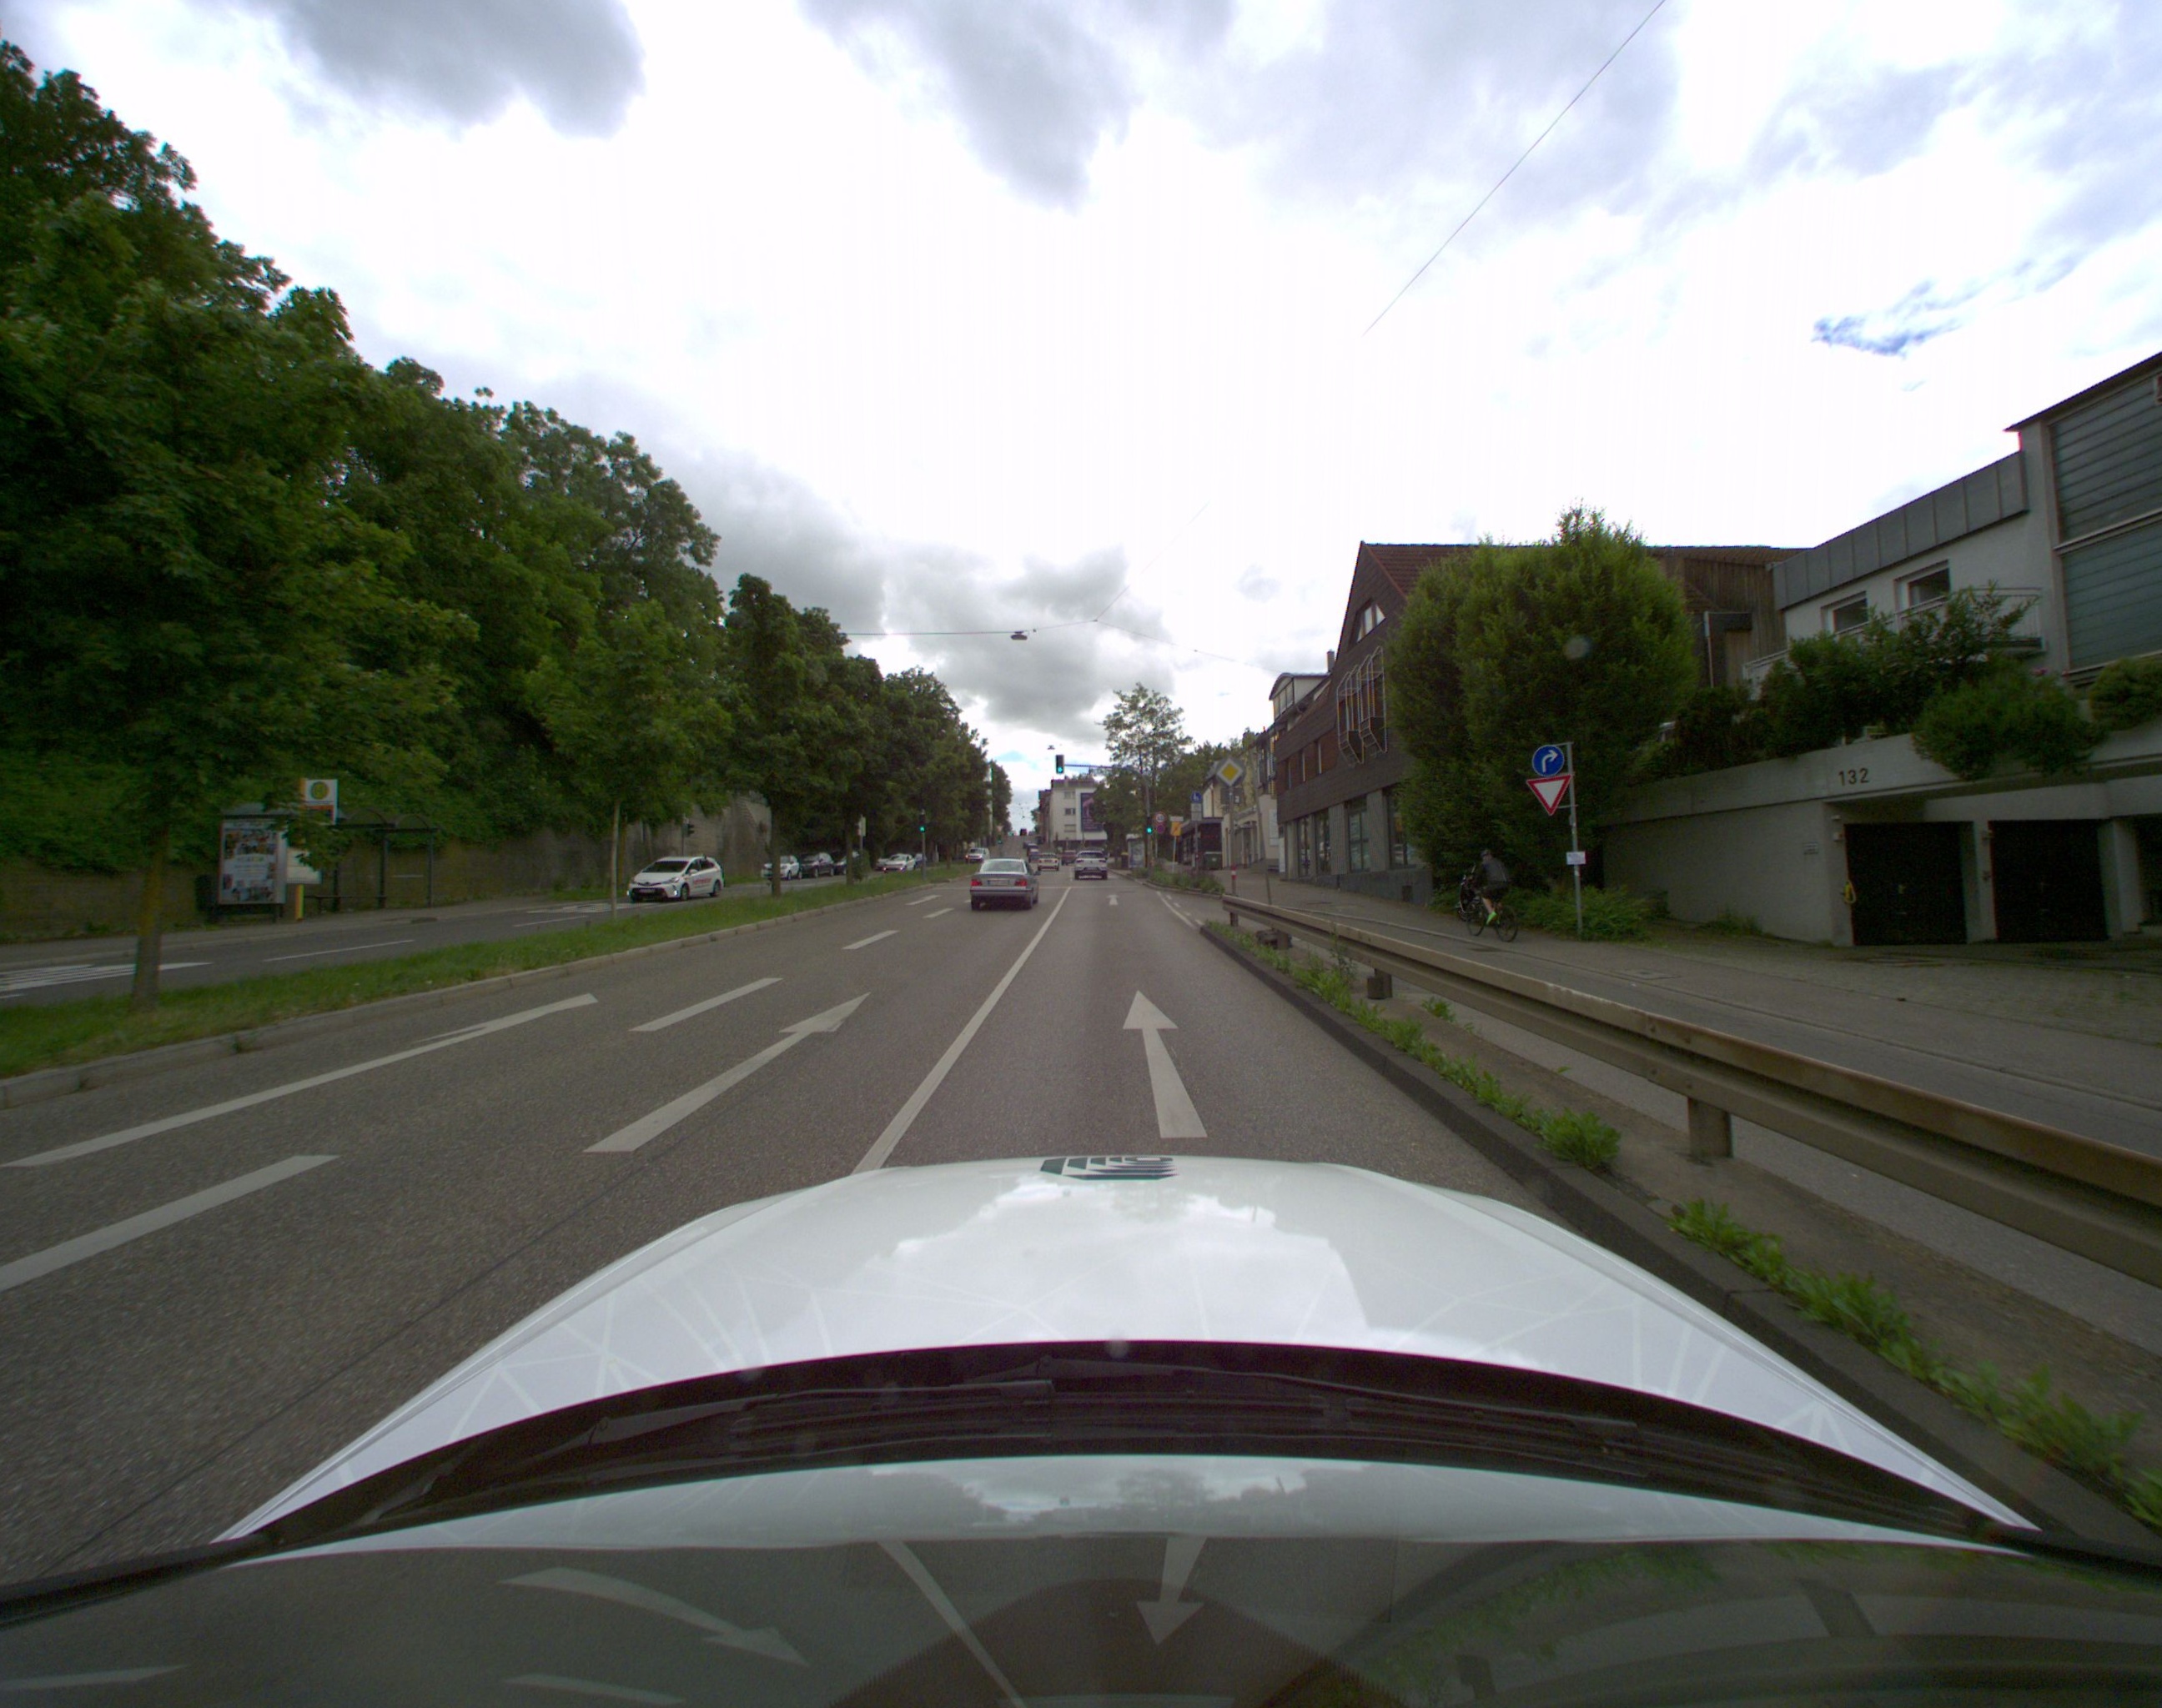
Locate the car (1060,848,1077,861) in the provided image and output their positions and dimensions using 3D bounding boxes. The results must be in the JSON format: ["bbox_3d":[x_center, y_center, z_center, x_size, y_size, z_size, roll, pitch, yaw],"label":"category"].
[{"bbox_3d":[-1.392,0.005,91.156,1.773,1.436,4.002,0,1,2],"label":"car"}]

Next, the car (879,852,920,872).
[{"bbox_3d":[-14.211,0.603,63.855,1.717,1.428,3.803,0,1,12],"label":"car"}]

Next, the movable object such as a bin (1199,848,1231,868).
[{"bbox_3d":[9.983,0.298,61.035,1.881,1.451,4.002,0,0,2],"label":"movable object such as a bin"}]

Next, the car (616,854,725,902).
[{"bbox_3d":[-14.840,0.816,29.715,1.775,1.560,4.457,0,1,-1],"label":"car"}]

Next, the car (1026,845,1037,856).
[{"bbox_3d":[-7.880,-0.555,128.842,1.776,1.579,3.994,0,1,-4],"label":"car"}]

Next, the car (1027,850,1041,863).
[{"bbox_3d":[-6.299,0.305,108.232,1.776,1.579,3.994,0,1,-4],"label":"car"}]

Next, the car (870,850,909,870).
[{"bbox_3d":[-16.801,0.496,71.731,1.768,1.628,4.183,0,1,11],"label":"car"}]

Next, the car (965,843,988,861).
[{"bbox_3d":[-11.492,-0.274,89.524,1.933,1.957,5.020,0,1,-1],"label":"car"}]

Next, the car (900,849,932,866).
[{"bbox_3d":[-15.847,0.319,78.262,1.702,1.528,4.311,0,1,8],"label":"car"}]

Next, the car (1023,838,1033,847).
[{"bbox_3d":[-9.876,-2.156,151.207,1.776,1.579,3.994,0,1,-4],"label":"car"}]

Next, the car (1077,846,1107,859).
[{"bbox_3d":[1.771,-0.186,132.354,4.679,1.712,2.316,4,3,-5],"label":"car"}]

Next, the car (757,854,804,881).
[{"bbox_3d":[-18.165,0.798,49.334,1.775,1.498,3.096,0,1,-1],"label":"car"}]

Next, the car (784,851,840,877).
[{"bbox_3d":[-17.822,0.658,54.174,1.961,1.656,4.537,0,0,4],"label":"car"}]

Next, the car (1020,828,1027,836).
[{"bbox_3d":[-15.404,-5.930,218.813,1.990,2.013,3.994,0,1,-4],"label":"car"}]

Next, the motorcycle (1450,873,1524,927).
[{"bbox_3d":[9.006,0.992,18.150,0.693,1.051,1.968,-2,1,1],"label":"motorcycle"}]

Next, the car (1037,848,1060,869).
[{"bbox_3d":[-2.694,0.339,66.604,1.776,1.579,3.994,0,1,-4],"label":"car"}]

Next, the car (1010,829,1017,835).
[{"bbox_3d":[-18.331,-5.918,220.136,1.879,1.567,4.383,-1,3,-5],"label":"car"}]

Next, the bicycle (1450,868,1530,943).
[{"bbox_3d":[8.130,0.987,16.283,0.569,1.262,2.038,-2,3,-1],"label":"bicycle"}]

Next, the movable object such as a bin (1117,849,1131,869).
[{"bbox_3d":[3.396,0.388,64.665,1.082,1.481,1.537,0,0,0],"label":"movable object such as a bin"}]

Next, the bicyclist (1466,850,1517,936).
[{"bbox_3d":[8.129,0.749,16.153,0.536,1.633,0.947,0,0,0],"label":"bicyclist"}]

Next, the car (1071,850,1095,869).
[{"bbox_3d":[0.098,0.435,63.310,1.775,1.409,3.998,0,1,-1],"label":"car"}]

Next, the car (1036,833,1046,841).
[{"bbox_3d":[-8.190,-3.417,167.070,2.085,1.613,3.996,-1,0,-3],"label":"car"}]

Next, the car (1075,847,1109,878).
[{"bbox_3d":[0.571,0.441,45.115,1.775,1.579,3.998,0,1,-1],"label":"car"}]

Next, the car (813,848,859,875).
[{"bbox_3d":[-17.612,0.521,58.829,1.772,1.843,4.491,0,1,3],"label":"car"}]

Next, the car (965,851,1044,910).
[{"bbox_3d":[-2.062,0.673,22.984,1.700,1.464,4.002,0,1,2],"label":"car"}]
